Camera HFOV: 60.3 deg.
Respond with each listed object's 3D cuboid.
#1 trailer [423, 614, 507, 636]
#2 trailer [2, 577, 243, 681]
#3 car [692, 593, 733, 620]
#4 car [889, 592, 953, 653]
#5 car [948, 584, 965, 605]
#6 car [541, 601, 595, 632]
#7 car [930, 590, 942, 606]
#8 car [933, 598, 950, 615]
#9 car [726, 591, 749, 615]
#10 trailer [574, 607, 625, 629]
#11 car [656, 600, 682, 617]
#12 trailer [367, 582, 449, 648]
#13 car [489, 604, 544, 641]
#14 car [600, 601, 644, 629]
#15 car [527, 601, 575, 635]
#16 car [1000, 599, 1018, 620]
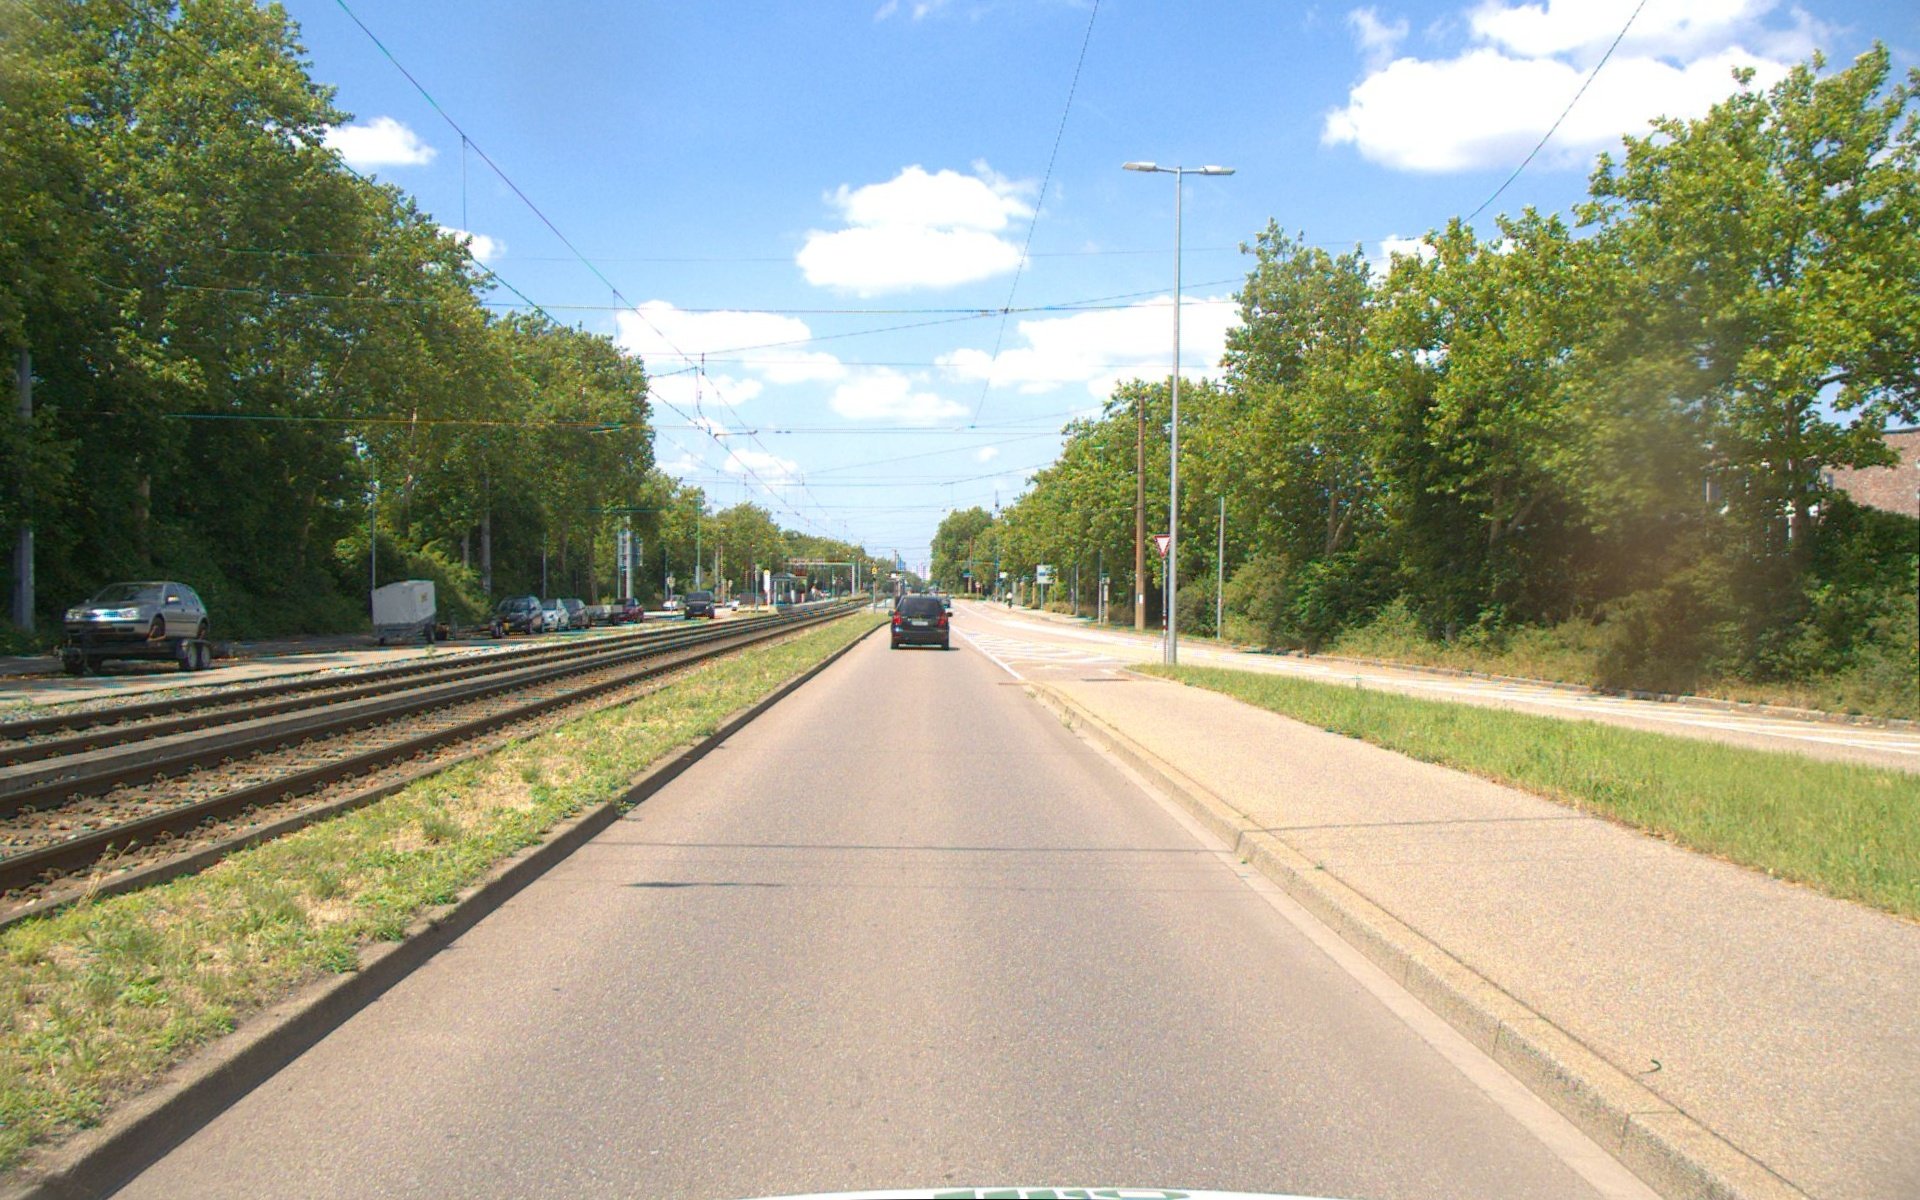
[{"bbox_3d":[-18.045,0.934,60.507,1.953,0.755,3.998,1,-1,-2],"label":"trailer"},{"bbox_3d":[-17.095,0.551,34.196,2.414,1.922,5.954,1,0,-6],"label":"trailer"},{"bbox_3d":[-16.915,0.439,113.235,2.074,1.821,5.403,1,0,-2],"label":"car"},{"bbox_3d":[-1.156,0.642,49.920,1.815,1.597,4.388,2,2,-1],"label":"car"},{"bbox_3d":[-0.464,-0.698,208.658,1.953,2.619,3.999,2,1,-1],"label":"car"},{"bbox_3d":[-19.242,0.797,81.386,1.833,1.425,4.415,1,0,-3],"label":"car"},{"bbox_3d":[-3.464,-0.296,238.138,1.750,2.048,3.999,2,1,-1],"label":"car"},{"bbox_3d":[-2.090,0.761,186.787,1.847,1.668,4.000,4,1,-1],"label":"car"},{"bbox_3d":[-20.585,0.254,153.130,1.955,2.048,3.996,2,1,-6],"label":"car"},{"bbox_3d":[-19.674,0.960,90.434,1.855,1.062,5.101,2,0,-3],"label":"trailer"},{"bbox_3d":[-29.051,0.837,165.150,1.953,1.601,3.999,1,0,-1],"label":"car"},{"bbox_3d":[-18.188,0.452,54.615,1.578,2.049,3.912,2,0,-4],"label":"trailer"},{"bbox_3d":[-18.567,0.943,69.402,1.405,1.477,3.918,1,0,-3],"label":"car"},{"bbox_3d":[-20.331,0.884,99.550,1.953,1.601,3.998,1,0,-2],"label":"car"},{"bbox_3d":[-18.706,0.809,75.774,1.405,1.477,3.738,1,0,-3],"label":"car"},{"bbox_3d":[5.105,0.946,173.297,1.580,2.048,3.438,2,1,-2],"label":"car"}]
